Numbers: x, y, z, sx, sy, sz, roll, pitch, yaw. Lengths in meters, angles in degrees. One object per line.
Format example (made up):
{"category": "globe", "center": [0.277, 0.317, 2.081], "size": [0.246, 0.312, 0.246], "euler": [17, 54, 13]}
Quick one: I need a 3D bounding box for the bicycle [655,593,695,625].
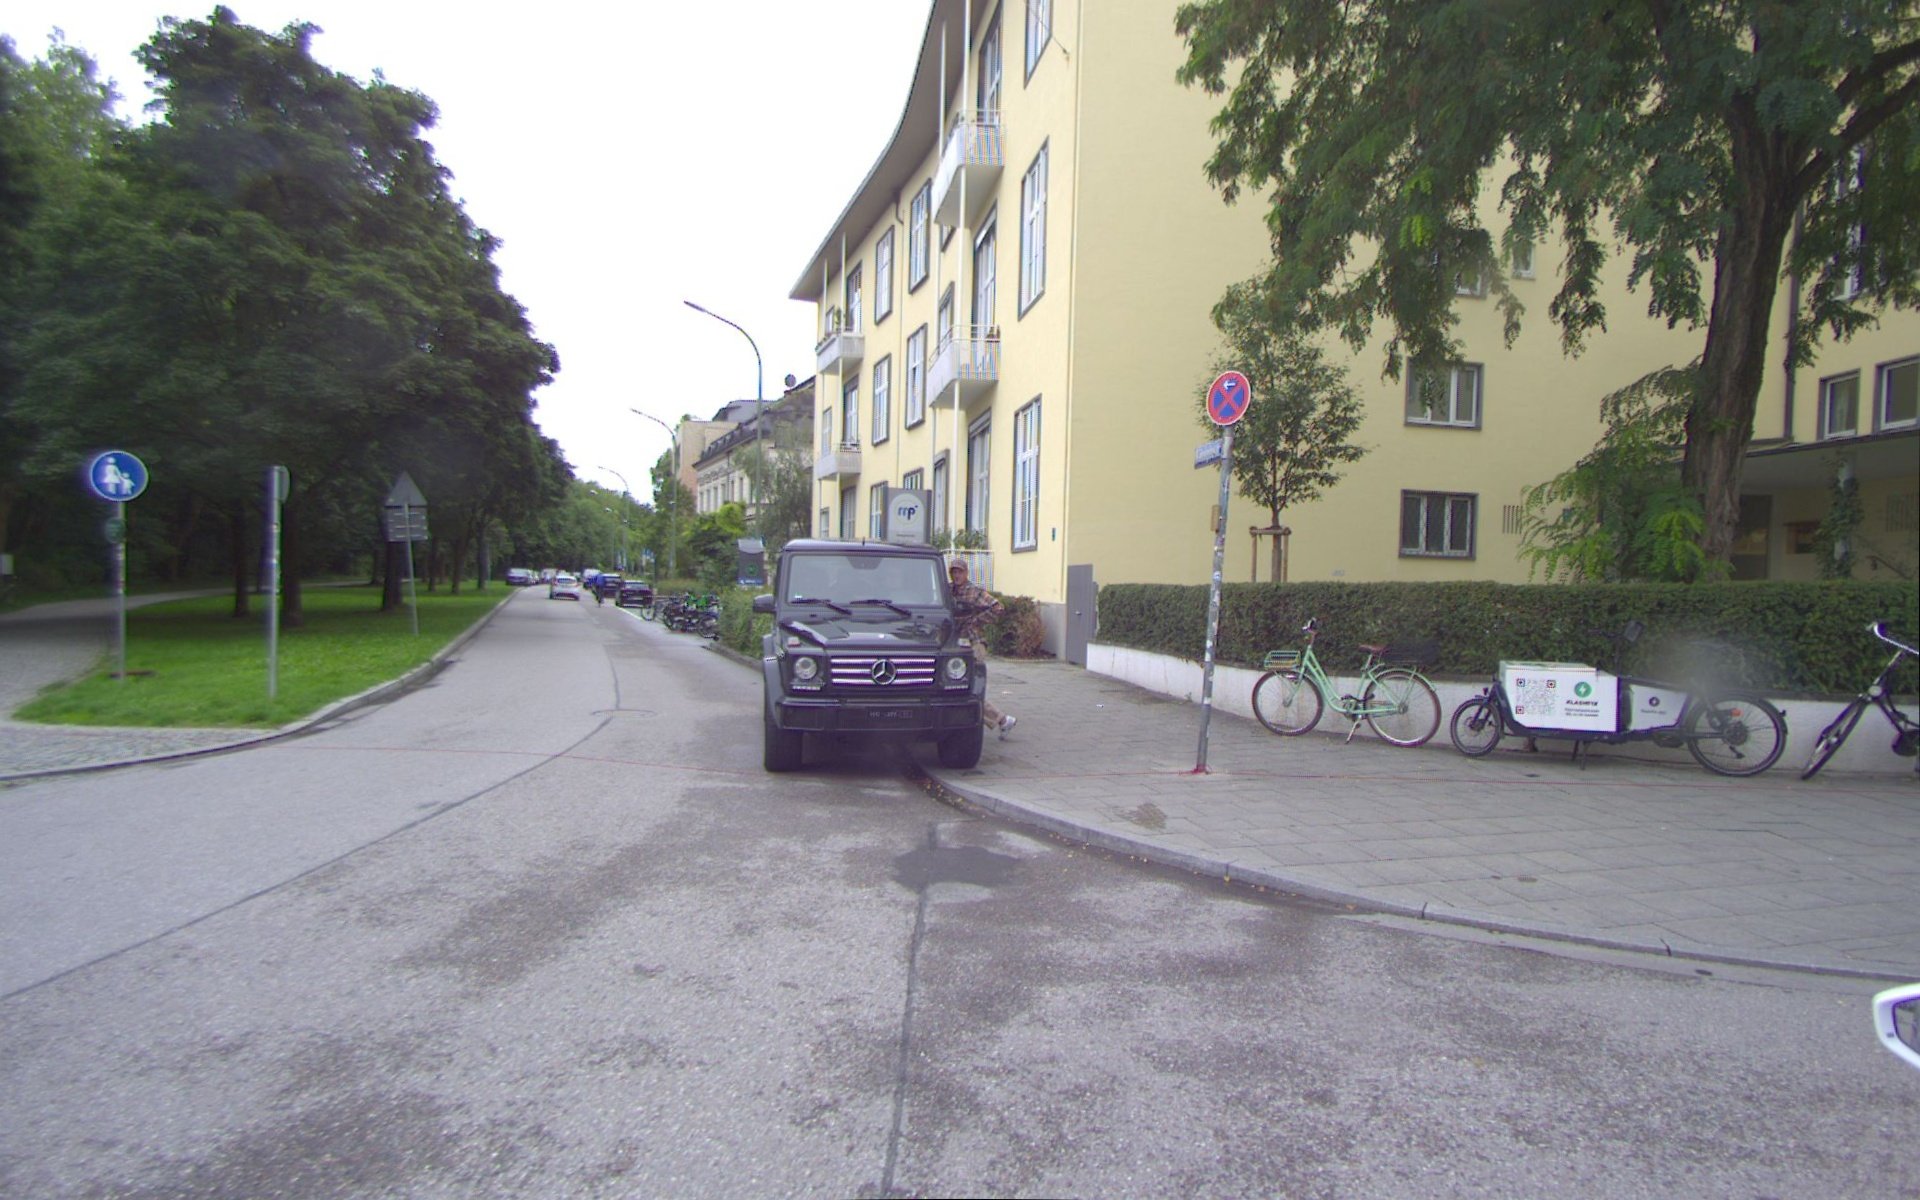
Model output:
{"category": "bicycle", "center": [-9.854, 0.310, 34.800], "size": [0.384, 1.079, 1.613], "euler": [2, 1, 22]}

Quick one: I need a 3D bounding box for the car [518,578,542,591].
{"category": "car", "center": [-47.313, -1.706, 110.623], "size": [1.893, 1.409, 3.848], "euler": [2, 1, -16]}

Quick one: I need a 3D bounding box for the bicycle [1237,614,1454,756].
{"category": "bicycle", "center": [3.636, 0.747, 9.634], "size": [0.578, 1.172, 1.930], "euler": [-2, 2, -39]}

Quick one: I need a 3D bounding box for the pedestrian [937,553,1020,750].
{"category": "pedestrian", "center": [0.189, 0.480, 9.681], "size": [0.627, 1.823, 0.561], "euler": [-1, 1, 20]}

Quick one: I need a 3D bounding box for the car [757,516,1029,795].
{"category": "car", "center": [-0.907, 0.406, 9.648], "size": [1.903, 2.028, 4.409], "euler": [2, 1, -13]}

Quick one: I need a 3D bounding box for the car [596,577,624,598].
{"category": "car", "center": [-25.259, -0.899, 72.509], "size": [1.606, 1.439, 3.771], "euler": [2, 1, -23]}

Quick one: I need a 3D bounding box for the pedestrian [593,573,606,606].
{"category": "pedestrian", "center": [-18.479, -0.535, 51.523], "size": [0.466, 1.651, 0.753], "euler": [2, 1, -28]}

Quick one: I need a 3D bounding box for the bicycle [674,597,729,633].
{"category": "bicycle", "center": [-8.053, 0.472, 31.327], "size": [0.471, 1.079, 1.603], "euler": [3, 1, 45]}

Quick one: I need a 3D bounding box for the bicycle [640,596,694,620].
{"category": "bicycle", "center": [-11.861, 0.335, 40.683], "size": [2.009, 0.920, 0.543], "euler": [2, 1, -26]}

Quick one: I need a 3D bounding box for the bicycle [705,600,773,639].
{"category": "bicycle", "center": [-5.989, 0.542, 27.286], "size": [1.731, 0.997, 0.438], "euler": [2, 1, -28]}

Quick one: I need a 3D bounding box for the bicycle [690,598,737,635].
{"category": "bicycle", "center": [-7.516, 0.498, 30.676], "size": [0.377, 1.079, 1.611], "euler": [3, 1, 28]}

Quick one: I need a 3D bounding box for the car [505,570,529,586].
{"category": "car", "center": [-41.815, -2.117, 94.798], "size": [1.720, 1.409, 3.955], "euler": [2, 1, -20]}

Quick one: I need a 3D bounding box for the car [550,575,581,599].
{"category": "car", "center": [-24.670, -0.842, 62.806], "size": [1.730, 1.409, 3.841], "euler": [2, 1, -22]}

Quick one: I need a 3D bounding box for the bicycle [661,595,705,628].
{"category": "bicycle", "center": [-9.160, 0.384, 33.318], "size": [0.384, 1.079, 1.611], "euler": [3, 1, 27]}

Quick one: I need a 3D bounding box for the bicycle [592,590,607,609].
{"category": "bicycle", "center": [-18.515, -0.011, 51.556], "size": [0.477, 0.920, 1.619], "euler": [2, 1, -27]}

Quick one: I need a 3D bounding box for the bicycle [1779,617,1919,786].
{"category": "bicycle", "center": [7.536, 0.779, 7.774], "size": [1.817, 1.226, 0.564], "euler": [1, 2, 4]}

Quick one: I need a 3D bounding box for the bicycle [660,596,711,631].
{"category": "bicycle", "center": [-8.798, 0.425, 32.251], "size": [0.470, 1.079, 1.607], "euler": [3, 1, 38]}

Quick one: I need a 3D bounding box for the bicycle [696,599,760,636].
{"category": "bicycle", "center": [-6.642, 0.498, 28.743], "size": [1.730, 0.997, 0.361], "euler": [2, 1, -26]}

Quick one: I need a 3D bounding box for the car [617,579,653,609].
{"category": "car", "center": [-17.727, -0.352, 54.655], "size": [1.635, 1.549, 3.980], "euler": [2, 1, -21]}

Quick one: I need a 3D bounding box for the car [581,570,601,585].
{"category": "car", "center": [-38.825, -2.381, 105.617], "size": [1.730, 1.409, 3.841], "euler": [2, 1, -22]}

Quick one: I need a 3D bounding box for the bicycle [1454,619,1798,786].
{"category": "bicycle", "center": [5.322, 0.776, 8.230], "size": [2.254, 1.141, 0.582], "euler": [2, 3, 26]}
